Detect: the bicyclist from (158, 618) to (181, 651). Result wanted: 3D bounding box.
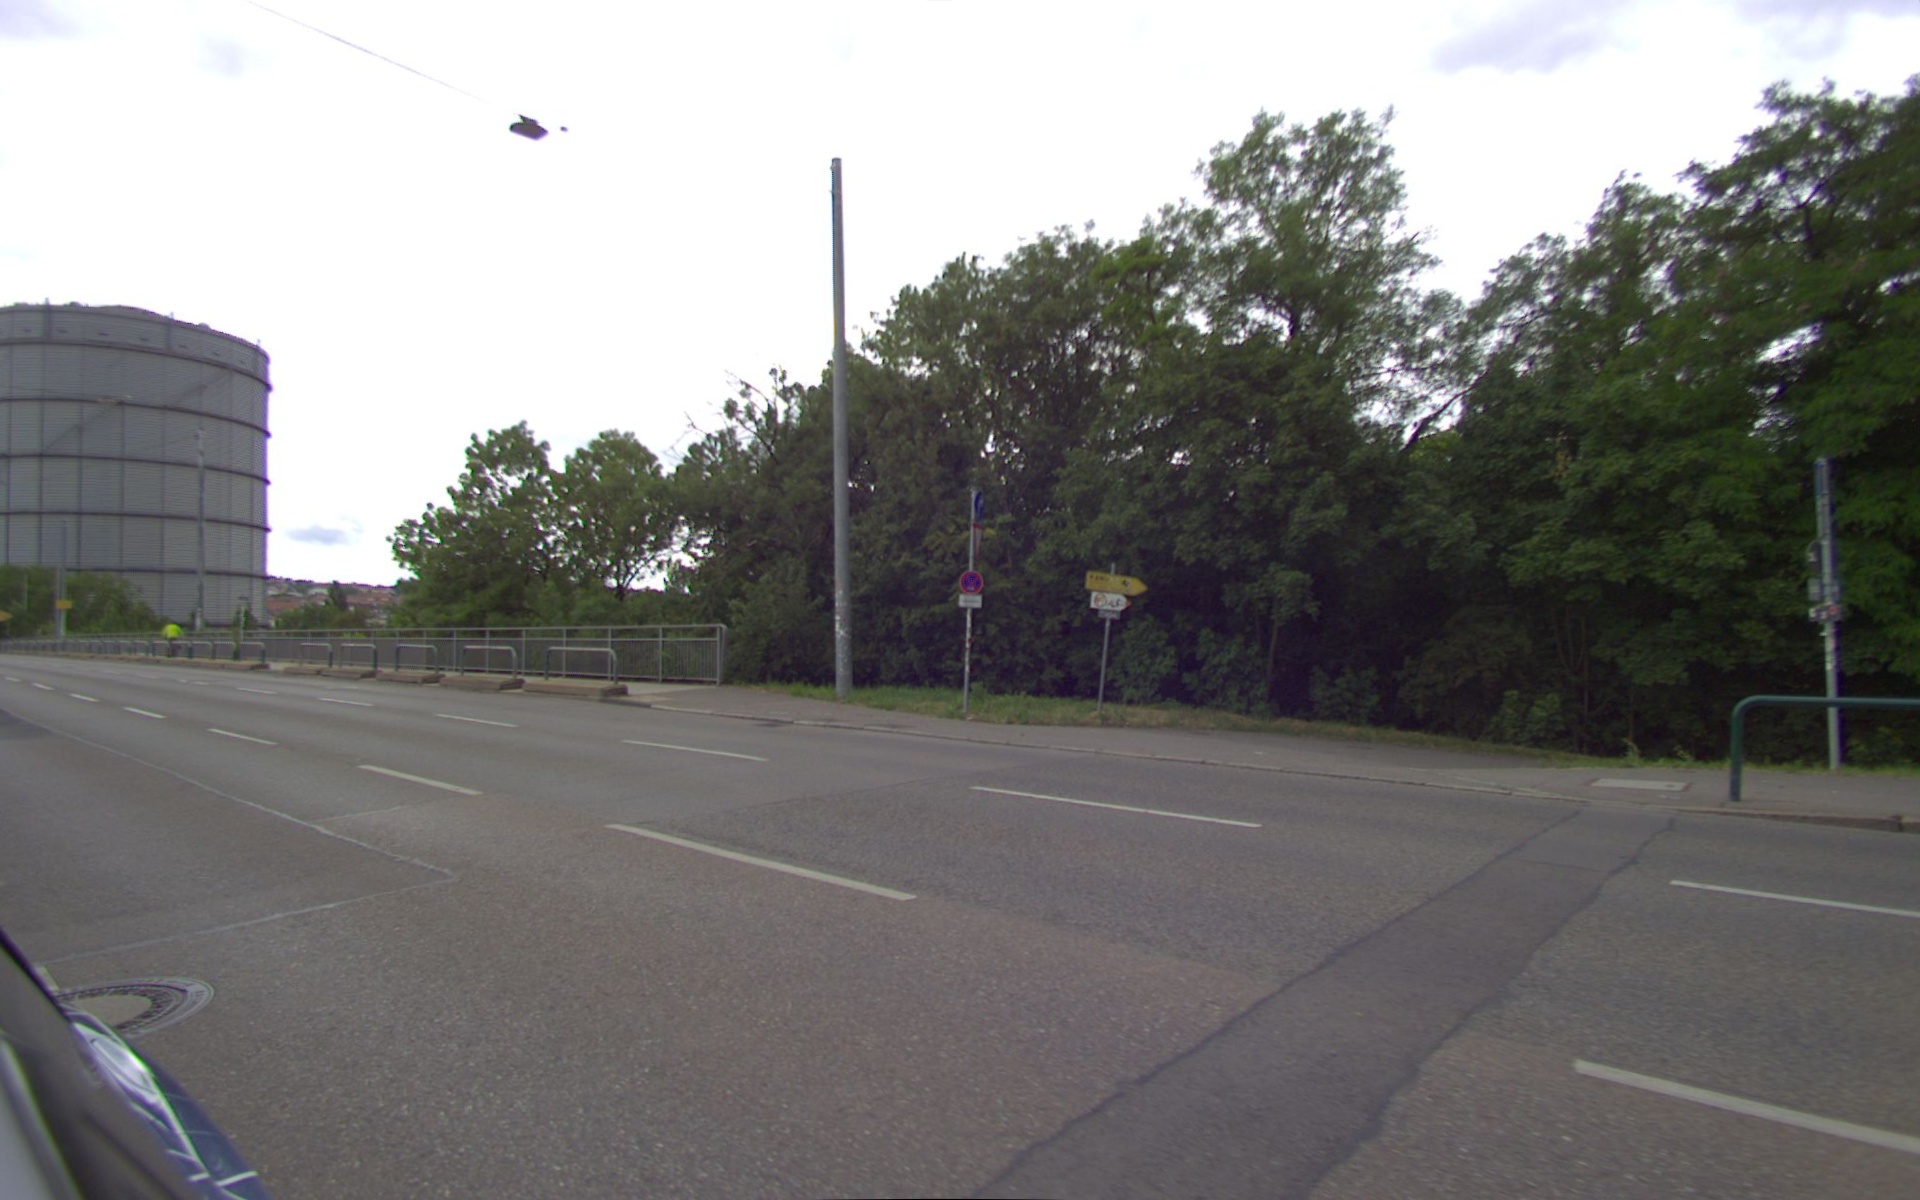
[{"bbox_3d":[-38.093,1.658,48.745,0.670,1.486,0.620,-2,5,43],"label":"bicyclist"}]

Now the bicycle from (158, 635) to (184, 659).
[{"bbox_3d":[-38.019,2.263,48.751,1.983,1.071,0.628,-2,5,44],"label":"bicycle"}]

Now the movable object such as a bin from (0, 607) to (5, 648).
[{"bbox_3d":[-82.870,2.284,84.640,9.355,3.348,3.419,-2,-4,42],"label":"movable object such as a bin"}]
